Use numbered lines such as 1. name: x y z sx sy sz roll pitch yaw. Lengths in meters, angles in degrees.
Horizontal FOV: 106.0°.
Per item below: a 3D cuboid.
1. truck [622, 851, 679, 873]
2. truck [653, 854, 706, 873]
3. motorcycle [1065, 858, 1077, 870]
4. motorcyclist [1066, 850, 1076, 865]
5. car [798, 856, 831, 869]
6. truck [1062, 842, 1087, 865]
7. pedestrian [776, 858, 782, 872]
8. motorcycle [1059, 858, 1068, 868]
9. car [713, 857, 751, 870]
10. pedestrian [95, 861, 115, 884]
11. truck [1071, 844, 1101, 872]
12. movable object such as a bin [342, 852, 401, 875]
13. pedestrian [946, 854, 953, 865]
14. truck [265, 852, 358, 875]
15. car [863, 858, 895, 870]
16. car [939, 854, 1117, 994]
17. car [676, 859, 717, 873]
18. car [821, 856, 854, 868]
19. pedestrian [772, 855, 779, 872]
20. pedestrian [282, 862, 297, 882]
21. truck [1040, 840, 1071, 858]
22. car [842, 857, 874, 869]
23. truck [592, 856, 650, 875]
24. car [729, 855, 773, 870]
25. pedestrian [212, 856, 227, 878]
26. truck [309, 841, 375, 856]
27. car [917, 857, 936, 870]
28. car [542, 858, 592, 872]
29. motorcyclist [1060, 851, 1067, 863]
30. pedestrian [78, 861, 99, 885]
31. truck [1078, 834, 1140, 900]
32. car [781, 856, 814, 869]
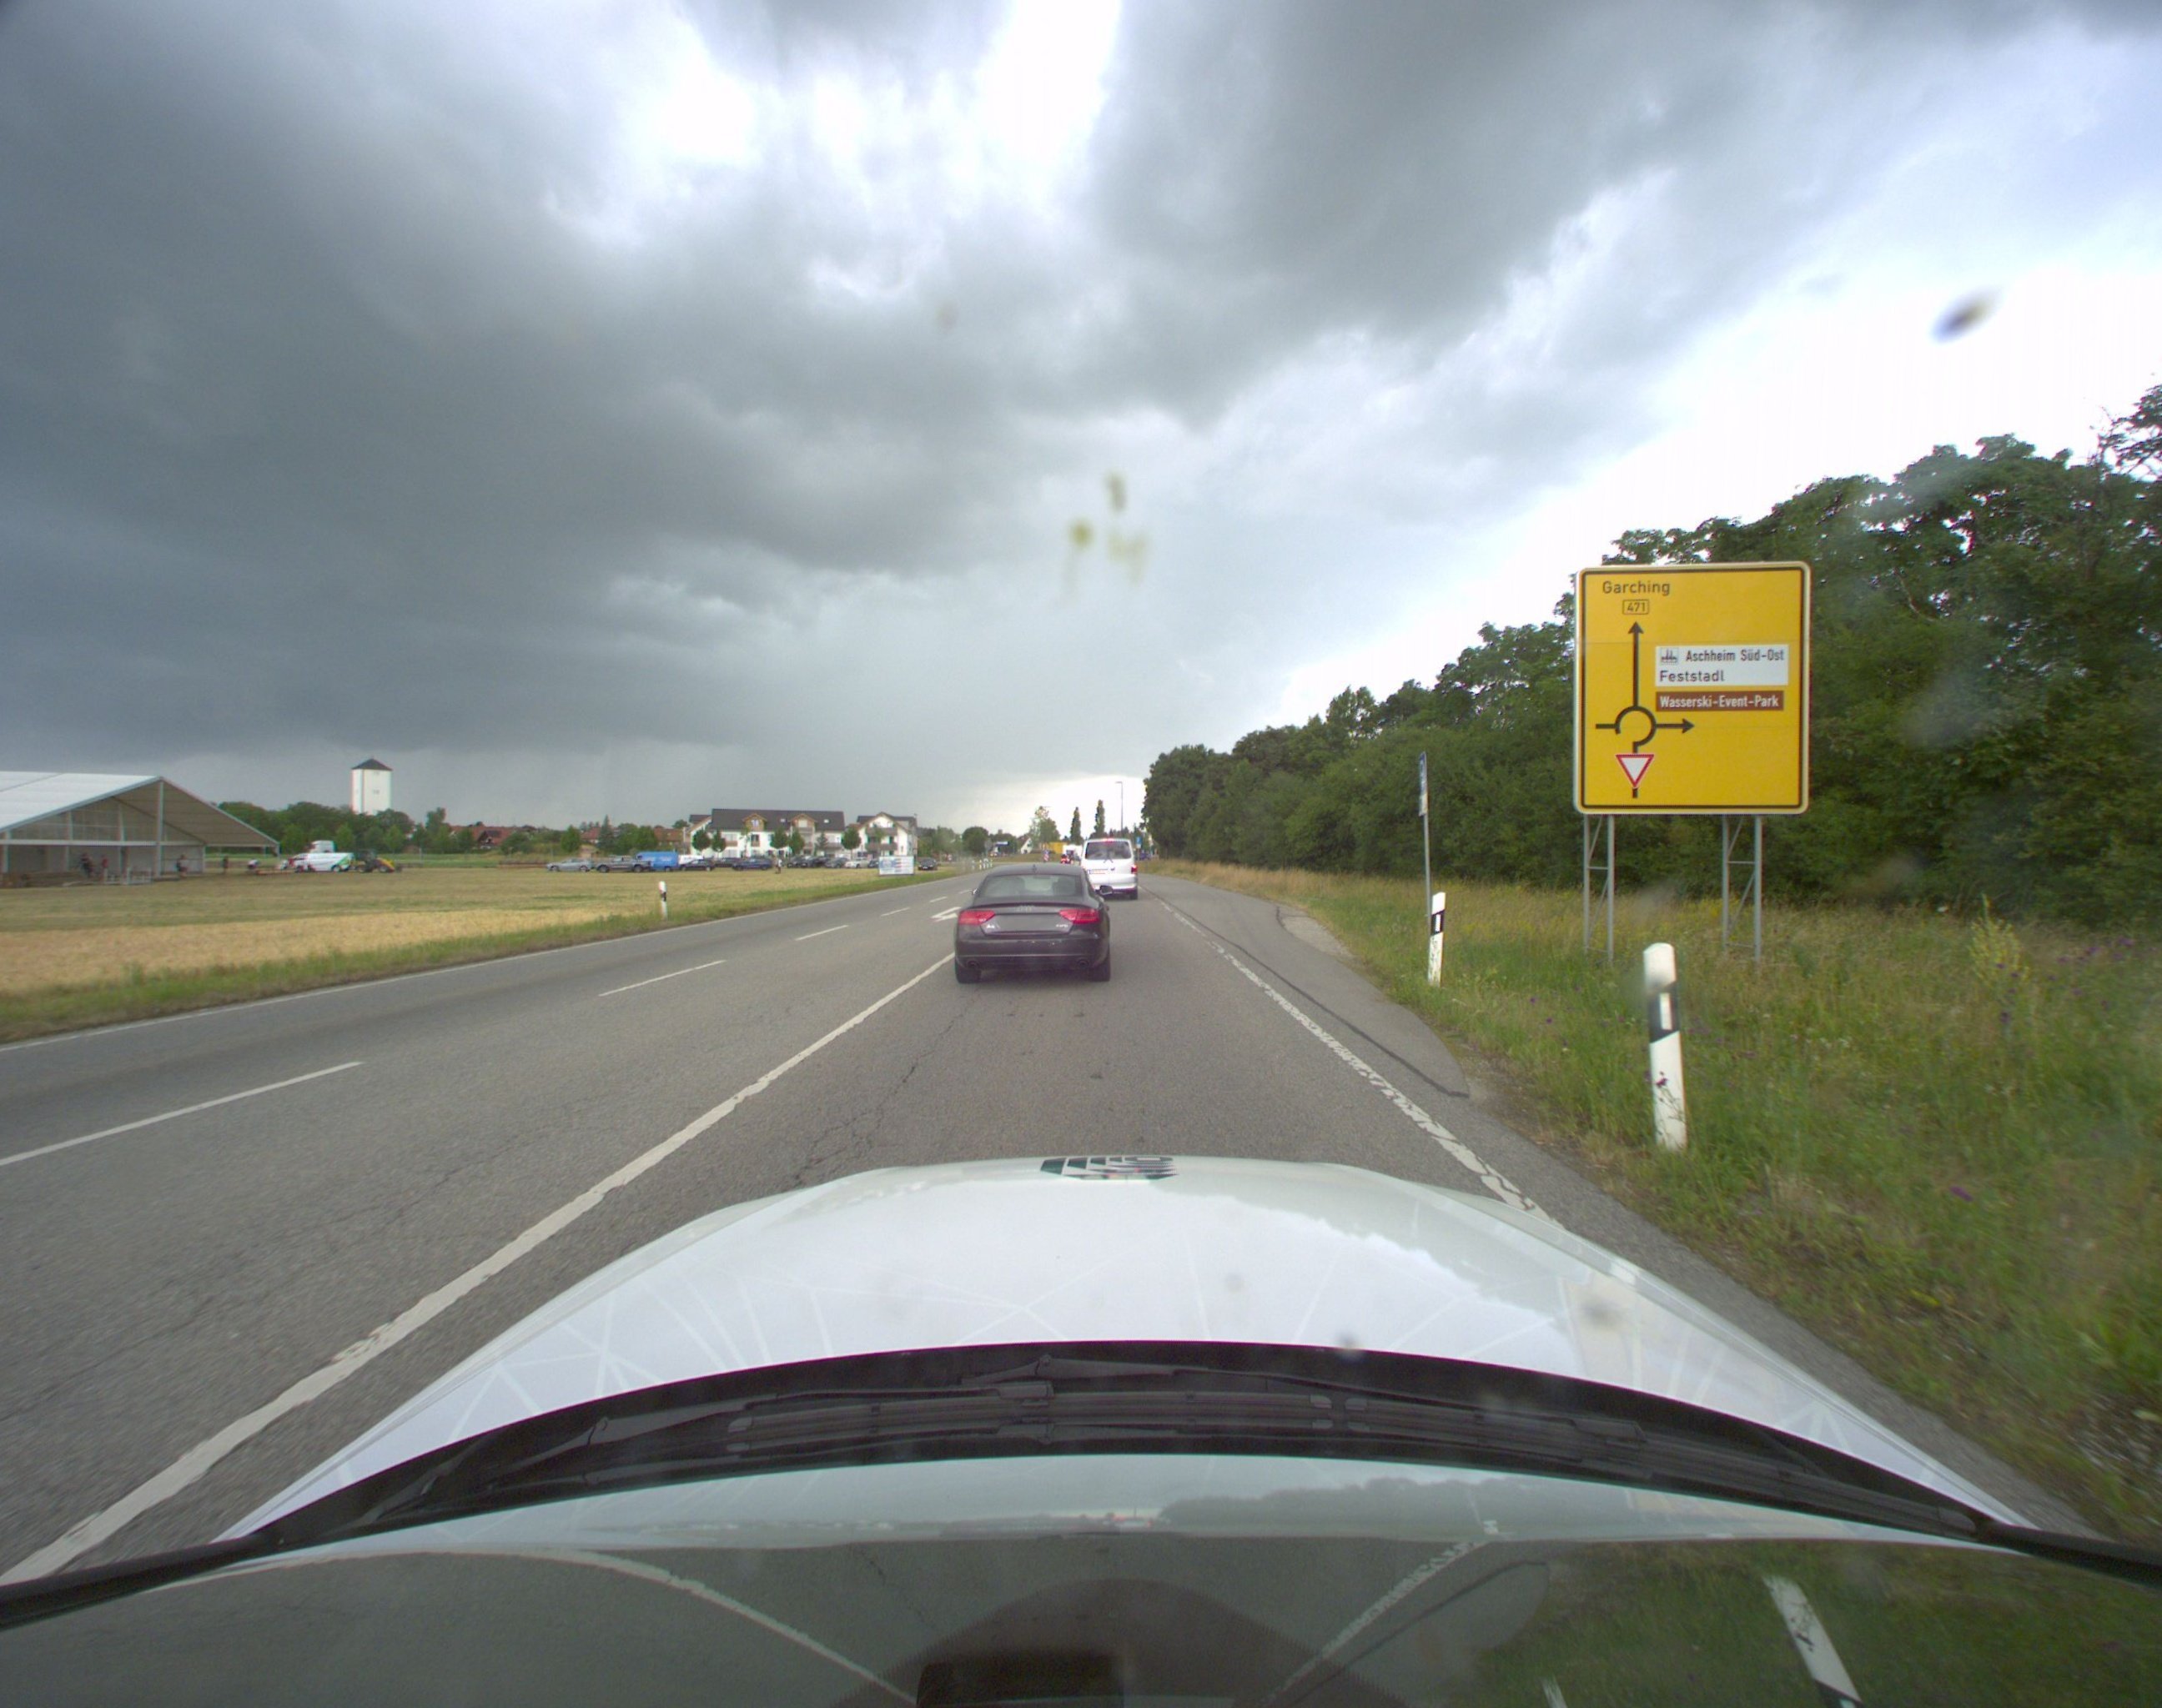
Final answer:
1. truck: -48.282 0.871 91.507 5.469 2.446 2.376 0 0 -22
2. truck: -48.752 1.093 99.011 5.587 2.196 2.588 0 0 -22
3. motorcycle: -0.879 0.866 73.271 0.916 1.094 2.190 0 0 3
4. motorcyclist: -0.897 0.308 73.114 0.769 1.383 0.821 0 0 2
5. car: -34.672 1.133 106.091 1.977 1.629 4.232 -1 0 19
6. truck: -0.866 -0.016 99.983 2.622 2.737 5.855 0 0 -6
7. pedestrian: -32.212 1.169 86.768 0.591 1.555 0.622 0 0 -18
8. motorcycle: -1.910 0.944 88.644 0.942 1.019 2.280 0 0 -5
9. car: -47.292 1.315 110.423 4.640 1.697 1.987 0 0 -20
10. pedestrian: -73.499 1.388 61.312 0.656 1.744 0.722 0 0 -19
11. truck: 0.457 0.326 62.102 2.186 2.014 5.086 0 0 1
12. movable object such as a bin: -69.345 0.899 79.628 4.006 2.243 1.869 0 0 -27
13. pedestrian: -17.969 0.767 111.398 0.695 1.586 0.661 -1 -1 18
14. truck: -75.869 0.885 80.437 6.076 2.217 2.697 0 0 -26
15. car: -25.902 1.250 104.735 1.977 1.446 4.232 -1 0 19
16. car: -0.537 0.741 10.733 1.868 1.454 4.177 -1 0 1
17. car: -45.300 1.403 96.140 4.168 1.519 1.987 0 0 -20
18. car: -31.532 0.985 105.606 1.977 1.535 4.232 -1 0 19
19. pedestrian: -32.195 0.993 85.907 0.548 1.786 0.676 0 0 -11
20. pedestrian: -72.078 1.650 74.144 0.689 1.776 0.691 0 -1 -14
21. truck: -5.113 -0.985 161.504 3.585 3.578 9.899 0 0 -17
22. car: -28.783 1.188 105.165 1.977 1.446 4.232 -1 0 19
23. truck: -49.161 1.196 87.230 5.253 1.920 2.094 0 0 -26
24. car: -39.789 1.040 98.296 4.730 1.697 1.987 0 0 -20
25. pedestrian: -73.675 1.101 69.640 0.626 1.866 0.704 0 -1 -20
26. truck: -133.663 -0.946 147.367 9.302 2.530 3.304 0 0 4
27. car: -17.482 1.046 92.265 1.993 1.442 3.987 0 1 -10
28. car: -55.883 1.235 88.618 4.316 1.461 1.876 0 0 -26
29. motorcyclist: -1.895 0.344 88.450 0.784 1.356 0.852 0 0 -5
30. pedestrian: -74.588 1.385 61.205 0.732 1.779 0.755 0 0 -19
31. truck: 0.925 0.394 27.255 1.897 1.998 4.630 0 0 1
32. car: -37.747 1.170 108.506 1.977 1.629 4.232 -1 0 19
